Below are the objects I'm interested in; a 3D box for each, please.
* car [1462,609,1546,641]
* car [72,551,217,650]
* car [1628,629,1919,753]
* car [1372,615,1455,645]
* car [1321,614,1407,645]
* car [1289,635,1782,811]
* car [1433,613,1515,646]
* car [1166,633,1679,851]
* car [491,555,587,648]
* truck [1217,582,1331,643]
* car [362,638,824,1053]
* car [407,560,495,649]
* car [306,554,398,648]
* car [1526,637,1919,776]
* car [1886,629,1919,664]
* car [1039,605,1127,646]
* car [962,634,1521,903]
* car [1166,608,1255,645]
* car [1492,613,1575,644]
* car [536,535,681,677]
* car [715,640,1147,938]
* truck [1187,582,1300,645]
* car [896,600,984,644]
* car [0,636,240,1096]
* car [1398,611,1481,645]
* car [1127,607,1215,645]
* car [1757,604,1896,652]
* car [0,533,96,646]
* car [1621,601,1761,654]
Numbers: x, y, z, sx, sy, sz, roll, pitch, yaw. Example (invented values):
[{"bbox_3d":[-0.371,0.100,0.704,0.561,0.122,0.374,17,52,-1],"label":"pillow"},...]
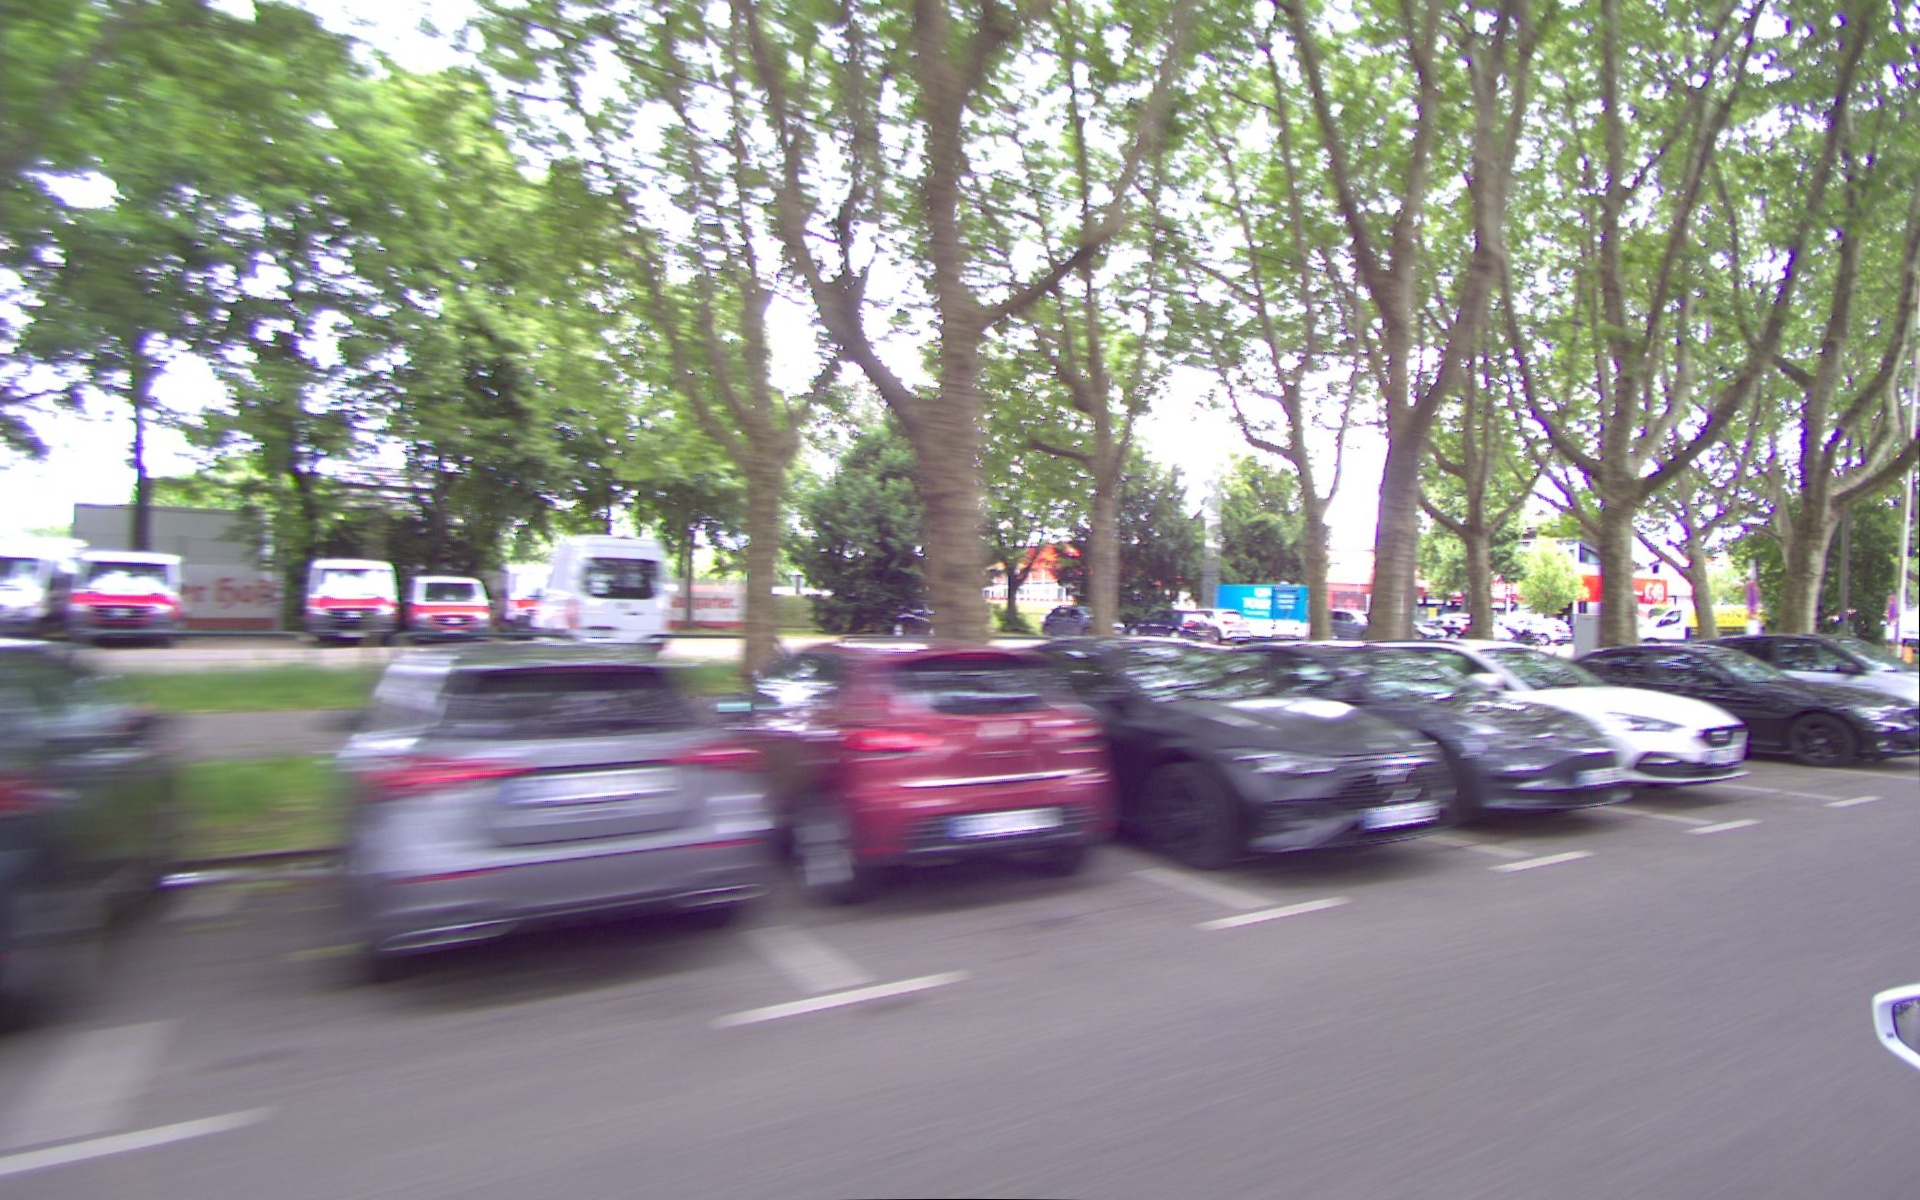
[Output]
[{"bbox_3d":[30.384,1.394,56.209,1.669,1.611,3.979,1,1,-21],"label":"car"},{"bbox_3d":[-21.060,-0.028,26.225,1.976,2.270,5.973,1,1,-30],"label":"car"},{"bbox_3d":[12.091,1.206,14.429,1.676,1.575,3.806,1,-2,-33],"label":"car"},{"bbox_3d":[23.588,1.546,52.378,1.519,1.368,3.734,1,1,-32],"label":"car"},{"bbox_3d":[19.866,1.420,49.519,1.518,1.368,3.735,1,1,-31],"label":"car"},{"bbox_3d":[5.740,1.103,10.709,1.672,1.448,4.387,1,-2,-26],"label":"car"},{"bbox_3d":[27.919,1.568,54.635,1.519,1.611,3.734,1,1,-32],"label":"car"},{"bbox_3d":[3.757,1.034,8.804,1.676,1.448,3.806,2,-3,-32],"label":"car"},{"bbox_3d":[-13.005,0.000,30.807,1.976,2.561,5.973,1,1,-30],"label":"car"},{"bbox_3d":[15.289,0.554,49.179,2.180,2.779,5.211,1,1,-30],"label":"truck"},{"bbox_3d":[-2.330,0.955,5.665,1.676,1.448,3.806,1,-2,-33],"label":"car"},{"bbox_3d":[-15.016,0.077,29.426,1.976,2.336,5.973,1,1,-30],"label":"car"},{"bbox_3d":[-16.989,-0.008,28.247,1.976,2.361,5.973,1,1,-30],"label":"car"},{"bbox_3d":[9.876,1.216,12.860,1.676,1.448,4.309,1,-2,-32],"label":"car"},{"bbox_3d":[58.941,2.863,59.864,2.147,2.042,5.059,1,1,-26],"label":"car"},{"bbox_3d":[5.045,1.021,41.591,1.660,1.506,3.782,1,1,-31],"label":"car"},{"bbox_3d":[1.782,0.984,7.602,1.676,1.448,3.999,1,-2,-33],"label":"car"},{"bbox_3d":[11.192,1.172,45.084,1.693,1.506,3.782,1,1,-31],"label":"car"},{"bbox_3d":[32.738,1.621,57.465,1.669,1.611,3.979,1,1,-21],"label":"car"},{"bbox_3d":[-7.722,0.075,21.642,1.976,2.632,5.760,1,1,-29],"label":"car"},{"bbox_3d":[-0.495,1.023,7.114,1.672,1.448,3.815,1,-2,-26],"label":"car"},{"bbox_3d":[13.221,0.557,47.204,1.905,2.779,5.287,1,1,-30],"label":"truck"},{"bbox_3d":[-0.800,0.800,37.818,1.660,1.506,3.782,1,1,-31],"label":"car"},{"bbox_3d":[-4.548,0.899,4.533,1.782,1.448,3.808,1,-2,-31],"label":"car"},{"bbox_3d":[25.512,1.462,53.506,1.519,1.611,3.734,1,1,-32],"label":"car"},{"bbox_3d":[9.218,1.112,44.074,1.660,1.506,3.782,1,1,-31],"label":"car"},{"bbox_3d":[45.227,1.416,52.548,2.147,2.262,5.059,1,1,-26],"label":"car"},{"bbox_3d":[-23.585,-0.307,25.026,1.976,2.561,5.973,1,1,-30],"label":"car"},{"bbox_3d":[33.861,1.224,46.678,1.518,2.262,5.051,1,1,-31],"label":"car"}]
